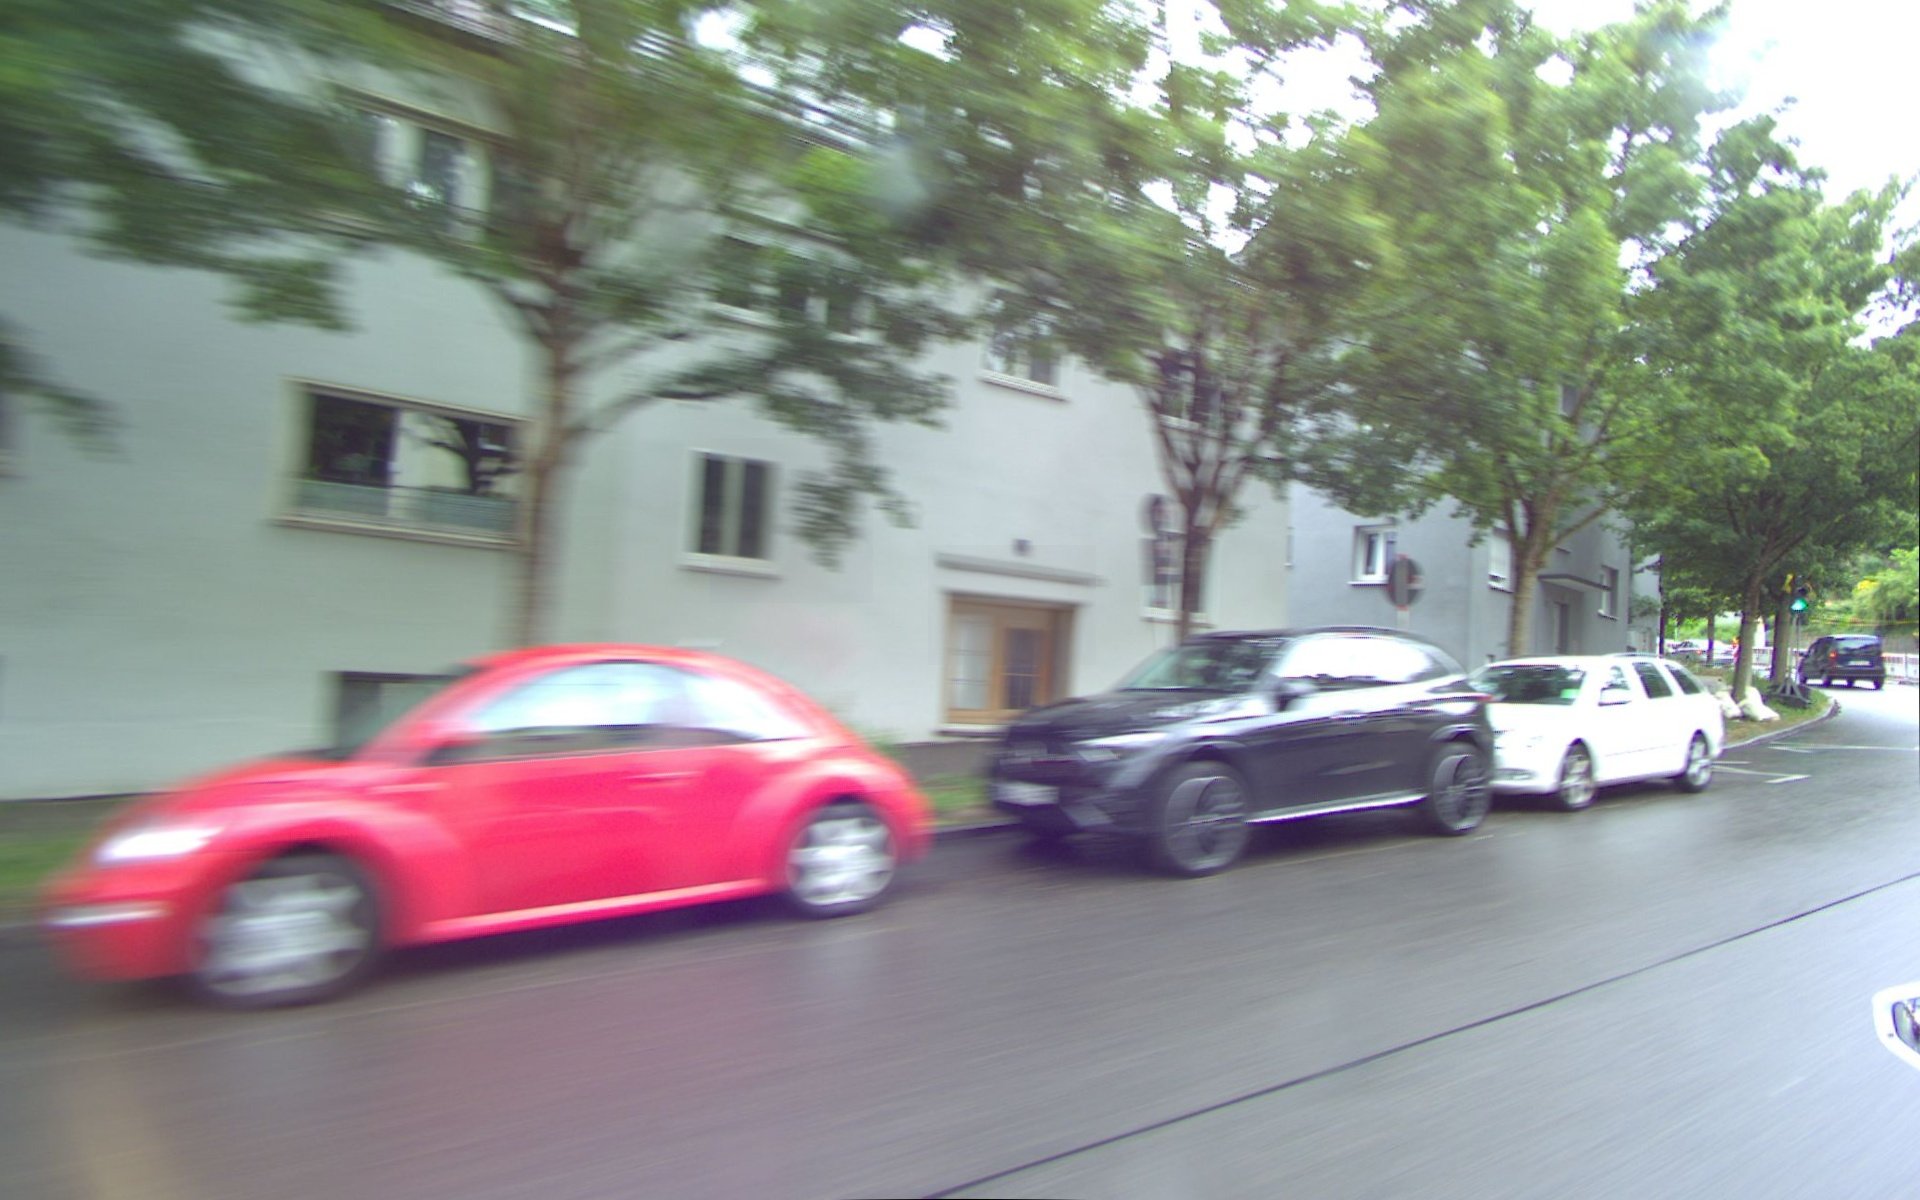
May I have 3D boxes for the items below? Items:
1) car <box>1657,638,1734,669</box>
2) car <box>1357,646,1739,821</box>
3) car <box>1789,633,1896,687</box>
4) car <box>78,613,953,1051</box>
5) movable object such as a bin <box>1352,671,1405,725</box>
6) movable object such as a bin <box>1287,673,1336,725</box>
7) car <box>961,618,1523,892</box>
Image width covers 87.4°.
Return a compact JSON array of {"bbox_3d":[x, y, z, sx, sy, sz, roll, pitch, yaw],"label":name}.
[{"bbox_3d":[37.151,2.696,50.830,1.691,1.505,4.079,-1,-3,14],"label":"car"},{"bbox_3d":[6.333,1.296,10.699,4.268,1.528,1.673,2,-5,-32],"label":"car"},{"bbox_3d":[31.775,2.158,36.304,1.964,1.817,3.995,-1,-3,28],"label":"car"},{"bbox_3d":[-2.057,1.005,5.442,3.809,1.584,1.623,4,-6,-34],"label":"car"},{"bbox_3d":[7.807,1.817,18.748,0.634,0.963,0.654,1,-2,-22],"label":"movable object such as a bin"},{"bbox_3d":[6.923,1.946,19.797,0.634,0.963,0.654,1,-2,-22],"label":"movable object such as a bin"},{"bbox_3d":[2.358,1.022,7.933,4.526,1.629,1.673,2,-4,-32],"label":"car"}]
